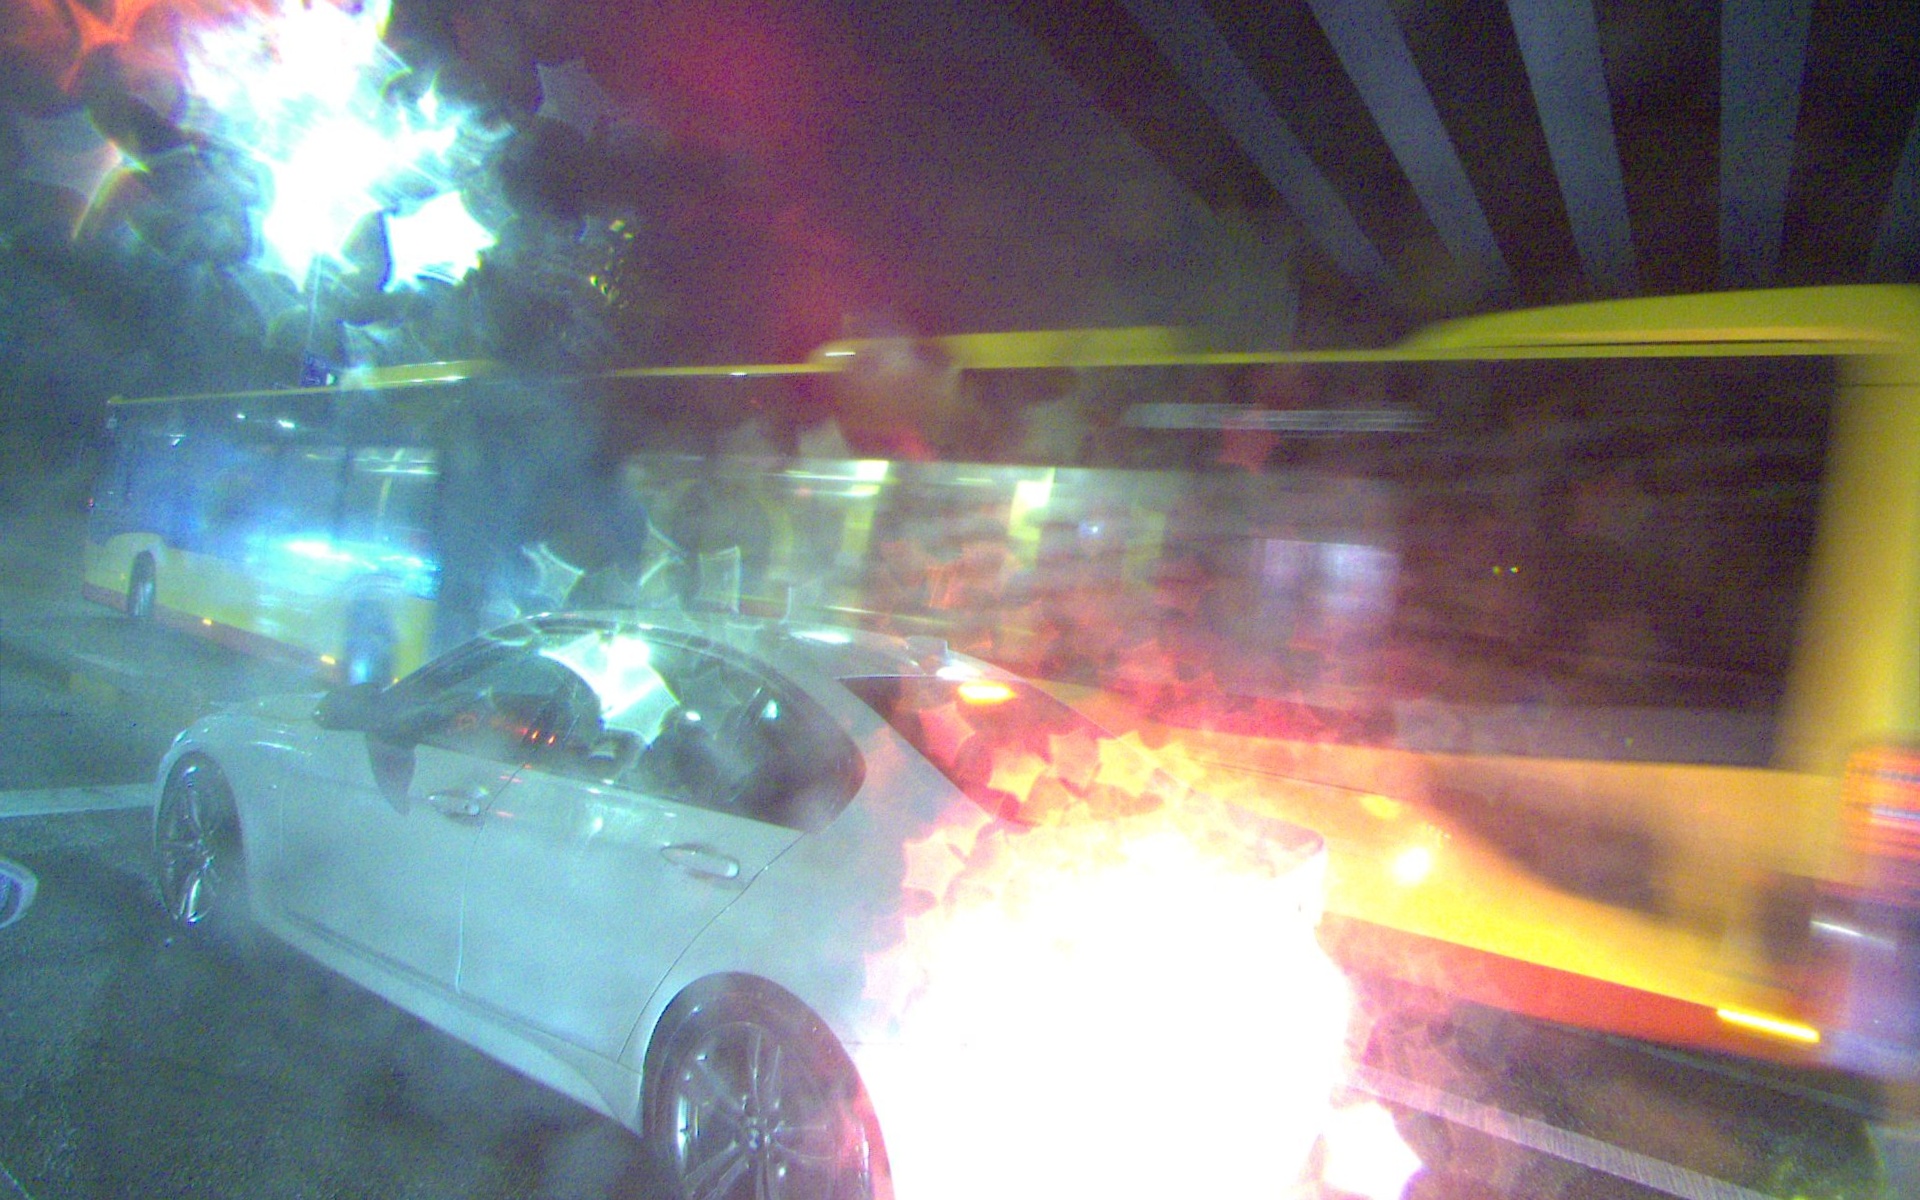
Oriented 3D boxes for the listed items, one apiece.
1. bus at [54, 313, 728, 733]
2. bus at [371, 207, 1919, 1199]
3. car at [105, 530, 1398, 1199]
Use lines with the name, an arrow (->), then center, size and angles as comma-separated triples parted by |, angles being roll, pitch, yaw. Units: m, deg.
bus -> -7.088, -0.880, 11.503 | 9.612, 3.160, 2.771 | 7, -1, 37
bus -> 0.596, 0.101, 6.164 | 9.599, 3.160, 2.774 | 7, -1, 31
car -> -0.973, 0.716, 3.501 | 4.277, 1.420, 1.720 | 6, -2, 32
